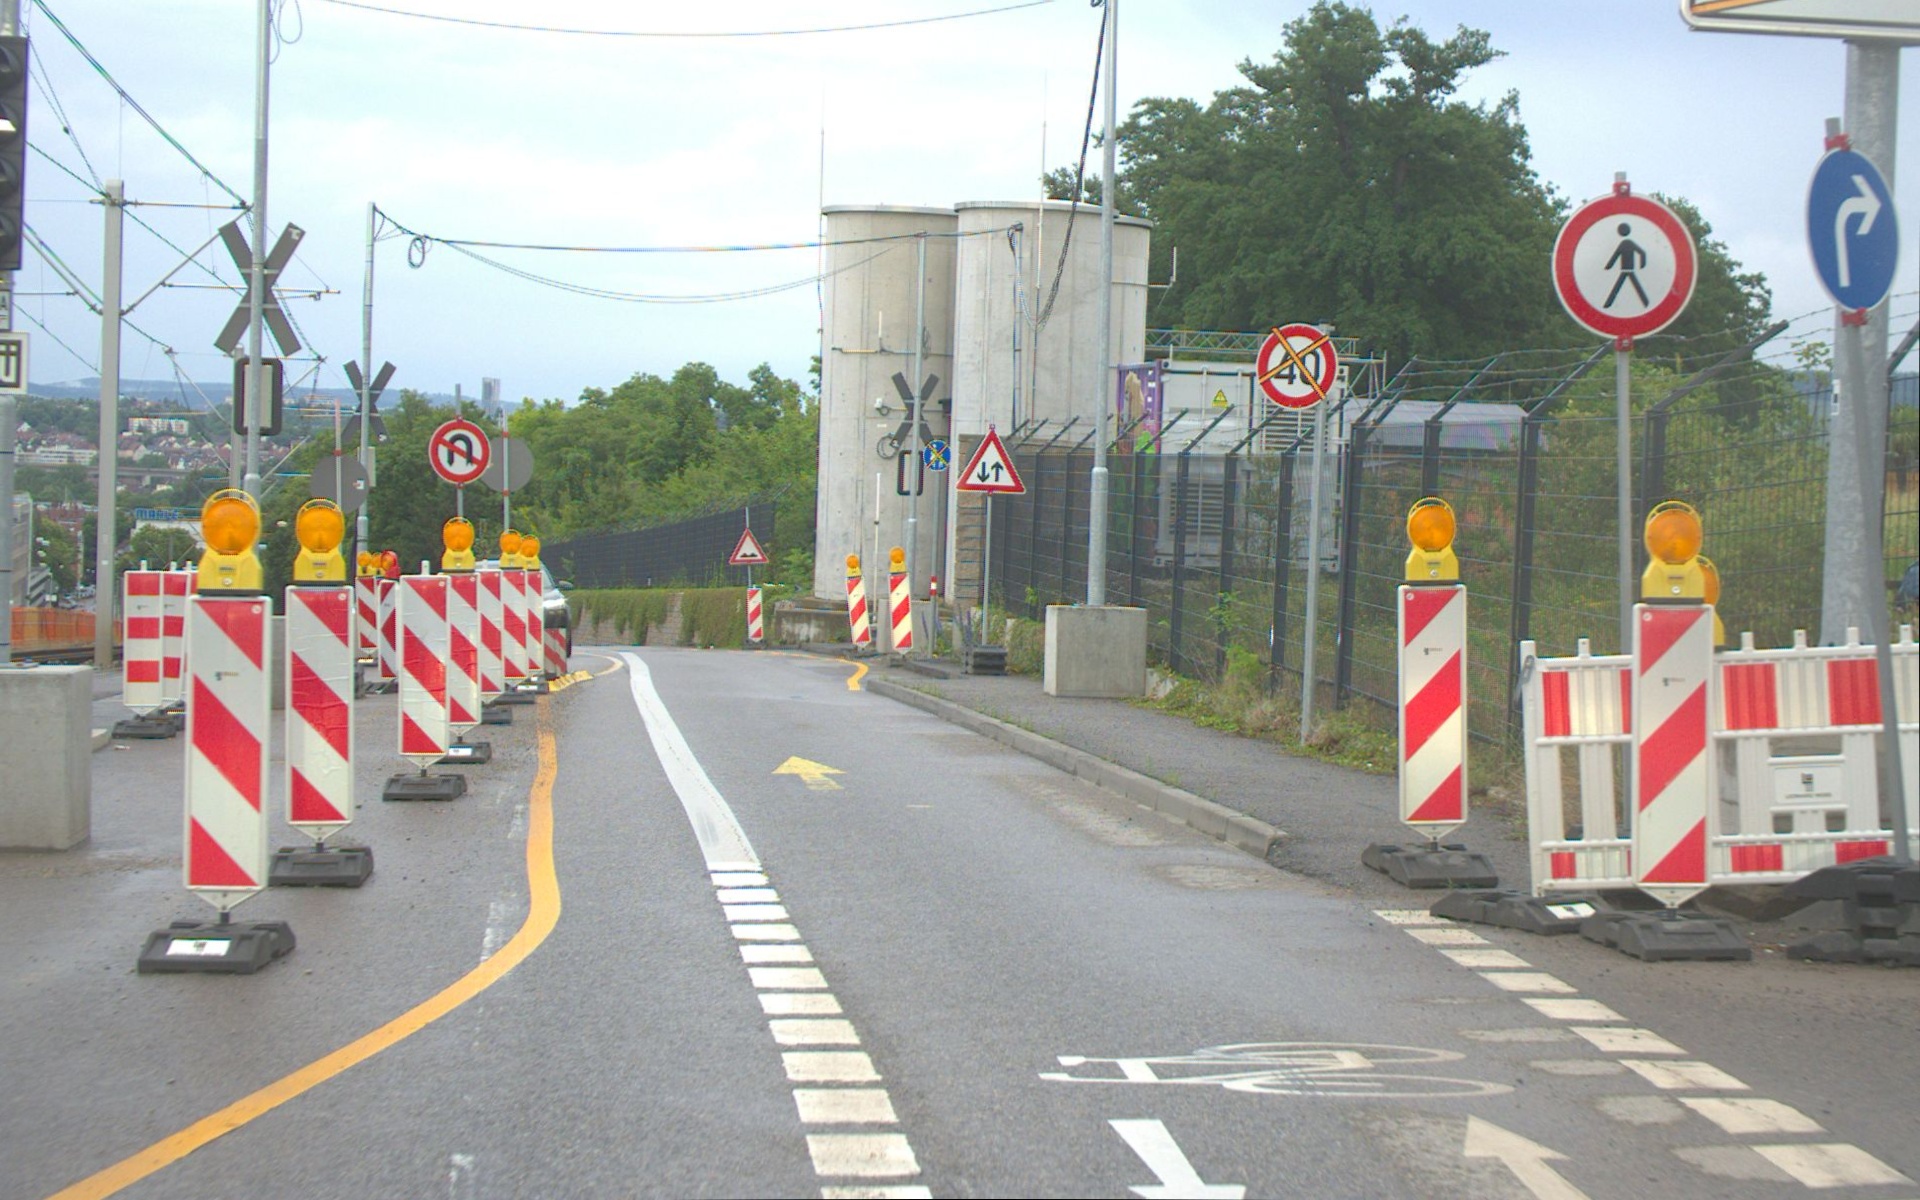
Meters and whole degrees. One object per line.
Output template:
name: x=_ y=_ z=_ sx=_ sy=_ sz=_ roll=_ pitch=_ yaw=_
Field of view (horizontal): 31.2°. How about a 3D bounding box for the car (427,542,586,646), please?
car: x=-7.781 y=-0.117 z=58.629 sx=1.993 sy=1.672 sz=4.490 roll=1 pitch=0 yaw=-17
